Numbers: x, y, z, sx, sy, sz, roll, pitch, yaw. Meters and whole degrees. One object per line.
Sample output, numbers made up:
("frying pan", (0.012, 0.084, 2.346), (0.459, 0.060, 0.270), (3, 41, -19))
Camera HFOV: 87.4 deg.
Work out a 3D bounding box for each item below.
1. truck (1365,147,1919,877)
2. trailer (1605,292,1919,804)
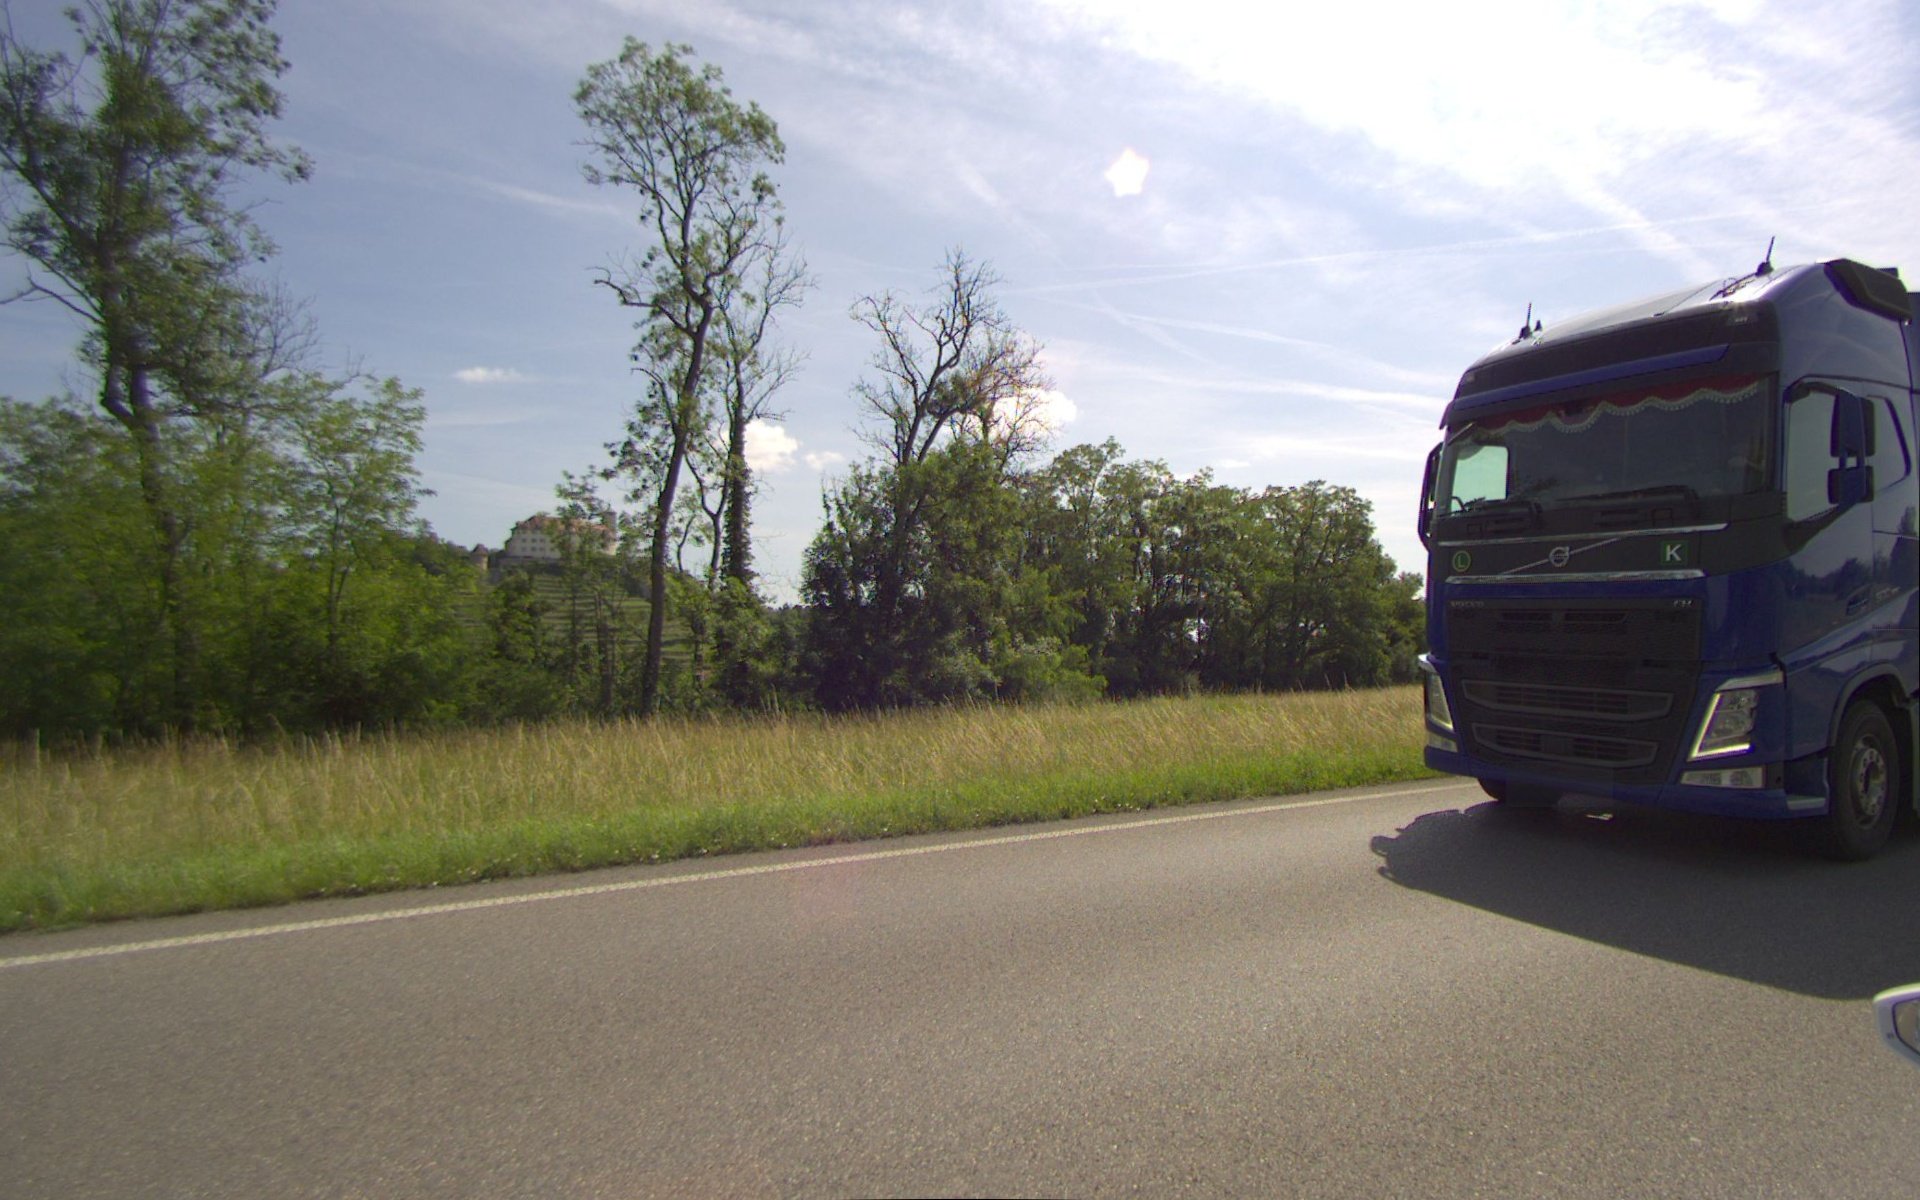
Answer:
("truck", (6.521, -0.439, 8.317), (5.911, 4.121, 2.795), (1, -1, -29))
("trailer", (12.833, -0.316, 11.924), (12.757, 4.097, 2.984), (1, 0, -29))
